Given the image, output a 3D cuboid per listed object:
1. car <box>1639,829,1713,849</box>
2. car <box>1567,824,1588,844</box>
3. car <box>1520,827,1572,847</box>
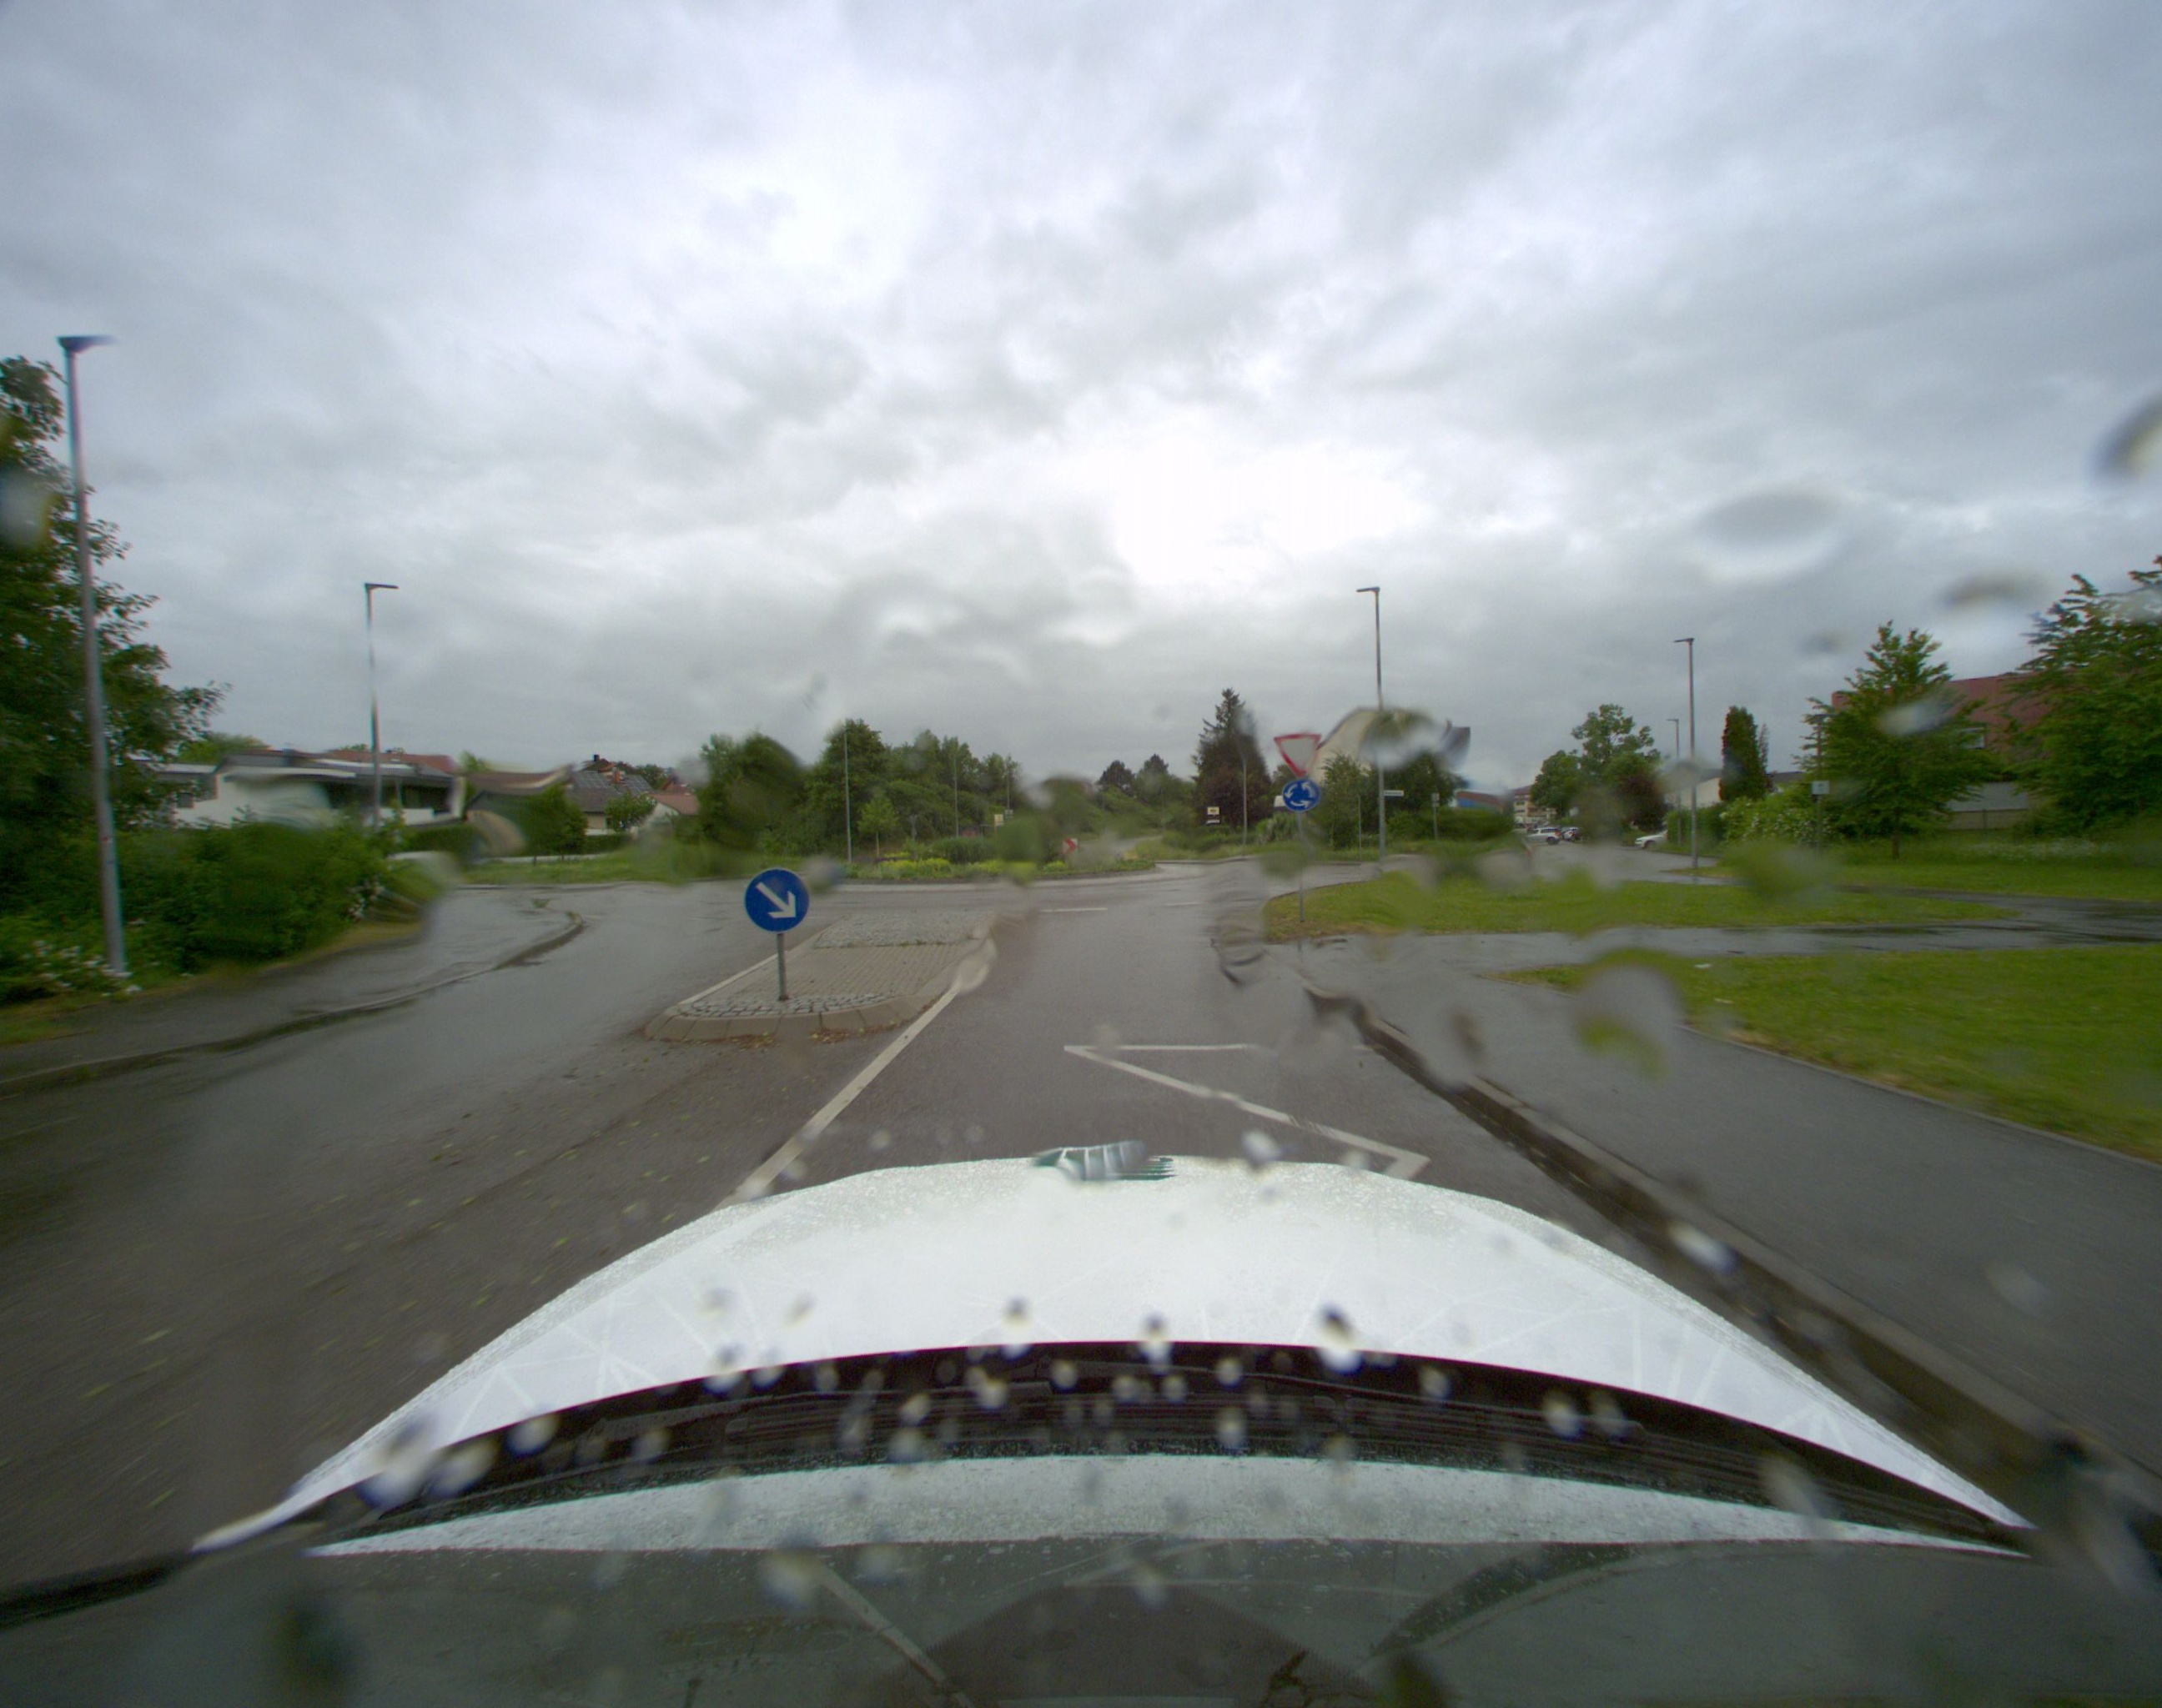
[{"bbox_3d":[41.709,-1.054,57.186,3.949,1.374,1.795,0,1,28],"label":"car"},{"bbox_3d":[53.059,-2.129,87.026,1.568,2.013,4.026,-2,0,35],"label":"car"},{"bbox_3d":[44.793,-1.633,78.447,3.949,1.827,1.909,-2,0,41],"label":"car"}]
